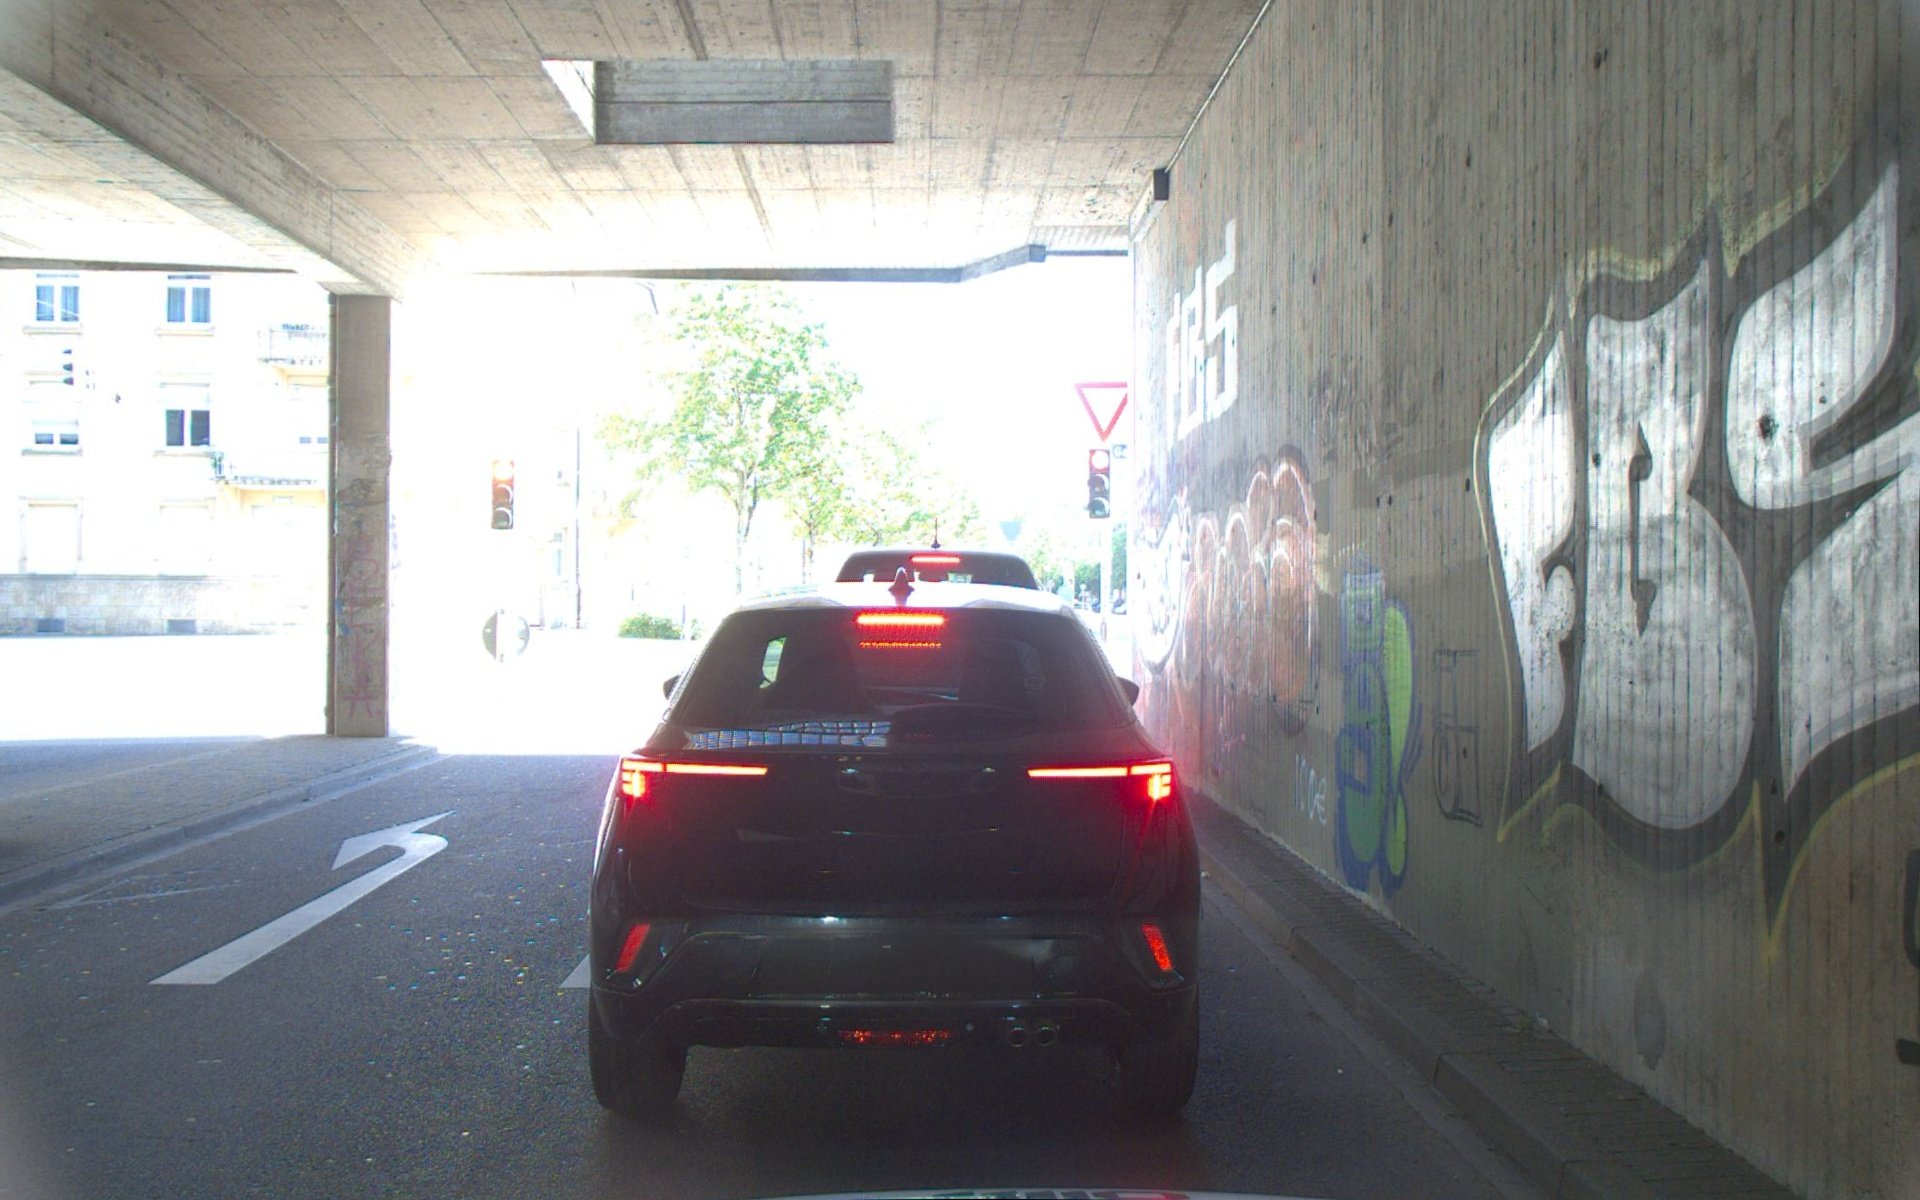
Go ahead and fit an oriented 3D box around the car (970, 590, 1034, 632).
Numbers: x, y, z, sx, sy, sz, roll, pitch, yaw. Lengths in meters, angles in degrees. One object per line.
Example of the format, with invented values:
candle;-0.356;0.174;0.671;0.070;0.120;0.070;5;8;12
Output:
car;1.618;0.446;62.229;1.926;1.523;3.899;0;-1;8

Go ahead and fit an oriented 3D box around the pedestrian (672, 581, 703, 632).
pedestrian;-11.139;0.261;67.527;0.971;2.049;1.089;0;0;7

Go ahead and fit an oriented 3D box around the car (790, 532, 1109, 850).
car;-0.090;0.532;11.897;1.906;1.892;3.963;0;0;-1

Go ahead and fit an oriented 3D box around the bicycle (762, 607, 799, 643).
bicycle;-5.559;0.772;51.433;0.716;1.086;1.690;1;0;9

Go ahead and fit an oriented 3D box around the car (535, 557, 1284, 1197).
car;-0.149;0.671;6.072;1.844;1.565;3.963;0;0;-1

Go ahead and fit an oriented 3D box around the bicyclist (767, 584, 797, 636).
bicyclist;-5.540;0.307;51.467;0.713;1.609;0.815;1;-1;9

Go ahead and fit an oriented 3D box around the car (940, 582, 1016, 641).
car;0.496;0.339;44.191;1.927;1.523;3.896;0;-1;1

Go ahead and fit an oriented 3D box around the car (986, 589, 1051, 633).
car;2.462;0.489;69.051;2.173;1.749;4.463;0;-1;9
